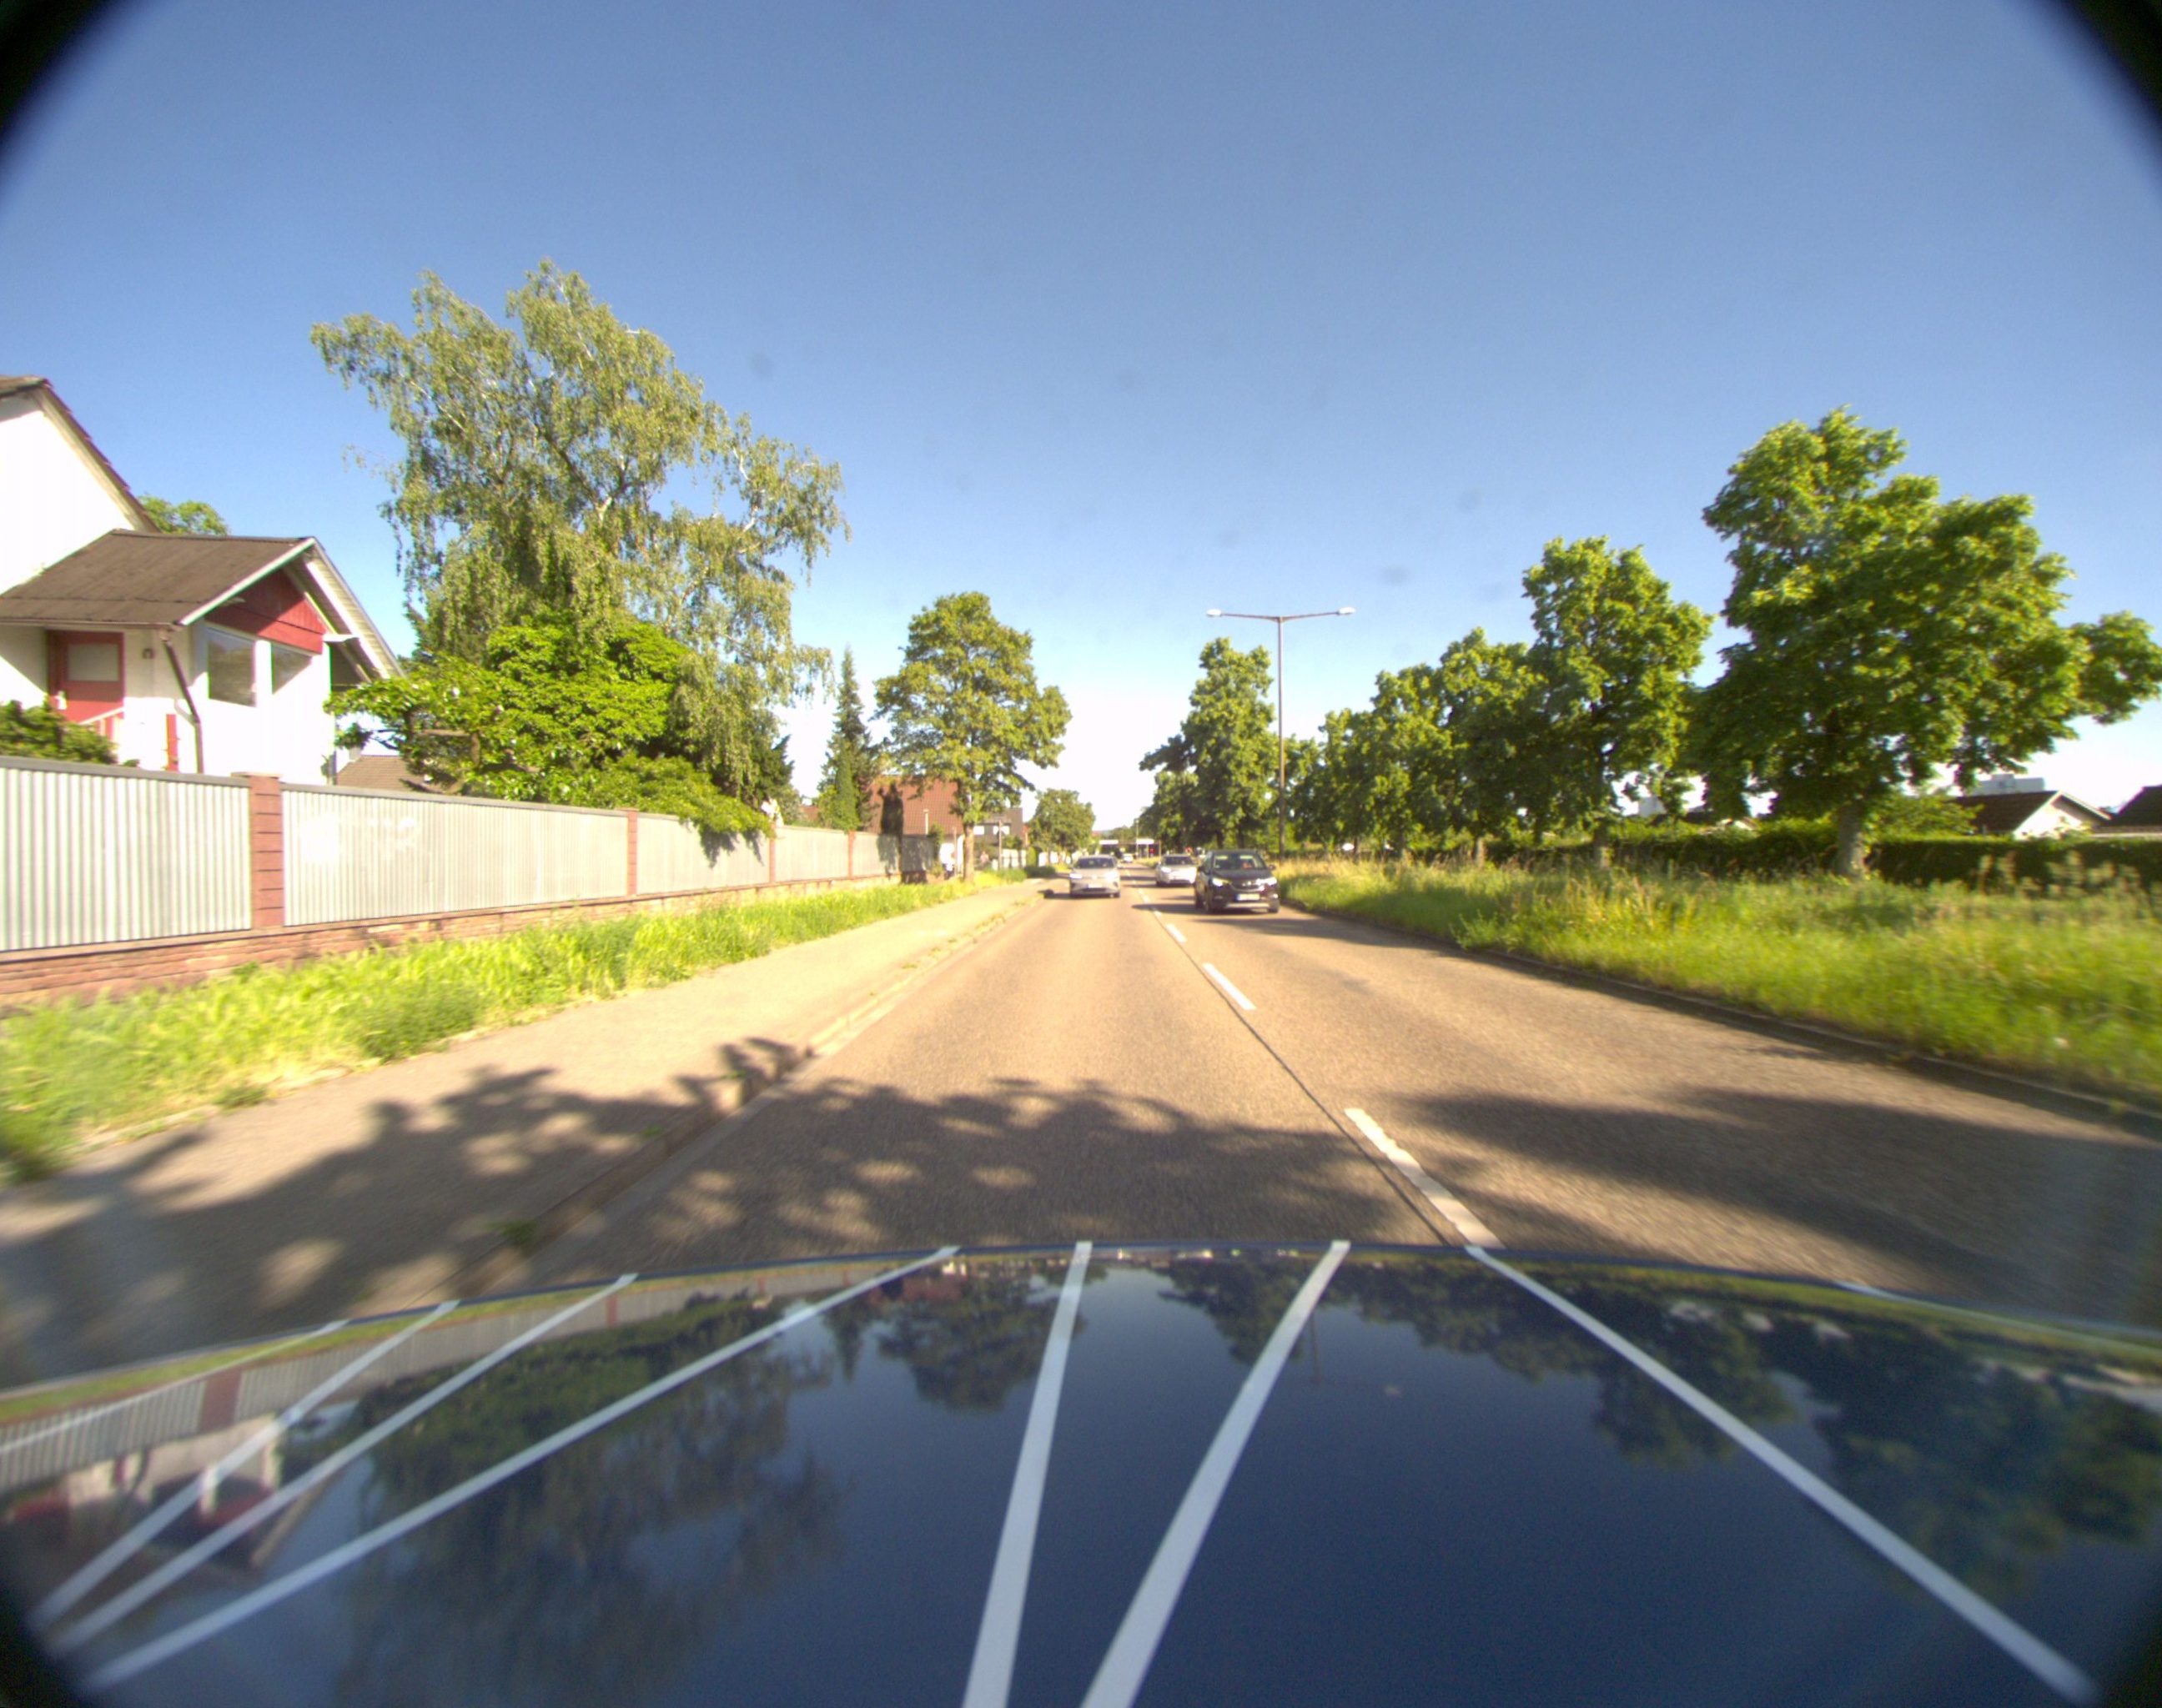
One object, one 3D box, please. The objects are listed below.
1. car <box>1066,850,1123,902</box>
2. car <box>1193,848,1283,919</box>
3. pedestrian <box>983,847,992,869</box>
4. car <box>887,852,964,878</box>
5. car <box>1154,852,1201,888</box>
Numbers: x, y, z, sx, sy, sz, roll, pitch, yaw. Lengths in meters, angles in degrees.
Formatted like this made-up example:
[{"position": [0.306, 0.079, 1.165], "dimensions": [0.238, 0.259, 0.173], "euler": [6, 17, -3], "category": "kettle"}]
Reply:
[{"position": [0.575, 0.724, 27.831], "dimensions": [1.801, 1.664, 4.240], "euler": [-3, 0, 3], "category": "car"}, {"position": [4.022, 0.693, 20.077], "dimensions": [1.713, 1.653, 3.857], "euler": [-1, 0, 3], "category": "car"}, {"position": [-7.452, 0.307, 60.276], "dimensions": [0.630, 1.698, 0.613], "euler": [-1, 1, -11], "category": "pedestrian"}, {"position": [-10.210, 0.698, 50.200], "dimensions": [4.755, 1.647, 2.070], "euler": [0, 0, -4], "category": "car"}, {"position": [4.603, 0.705, 36.577], "dimensions": [1.830, 1.604, 4.092], "euler": [-1, 0, 2], "category": "car"}]
